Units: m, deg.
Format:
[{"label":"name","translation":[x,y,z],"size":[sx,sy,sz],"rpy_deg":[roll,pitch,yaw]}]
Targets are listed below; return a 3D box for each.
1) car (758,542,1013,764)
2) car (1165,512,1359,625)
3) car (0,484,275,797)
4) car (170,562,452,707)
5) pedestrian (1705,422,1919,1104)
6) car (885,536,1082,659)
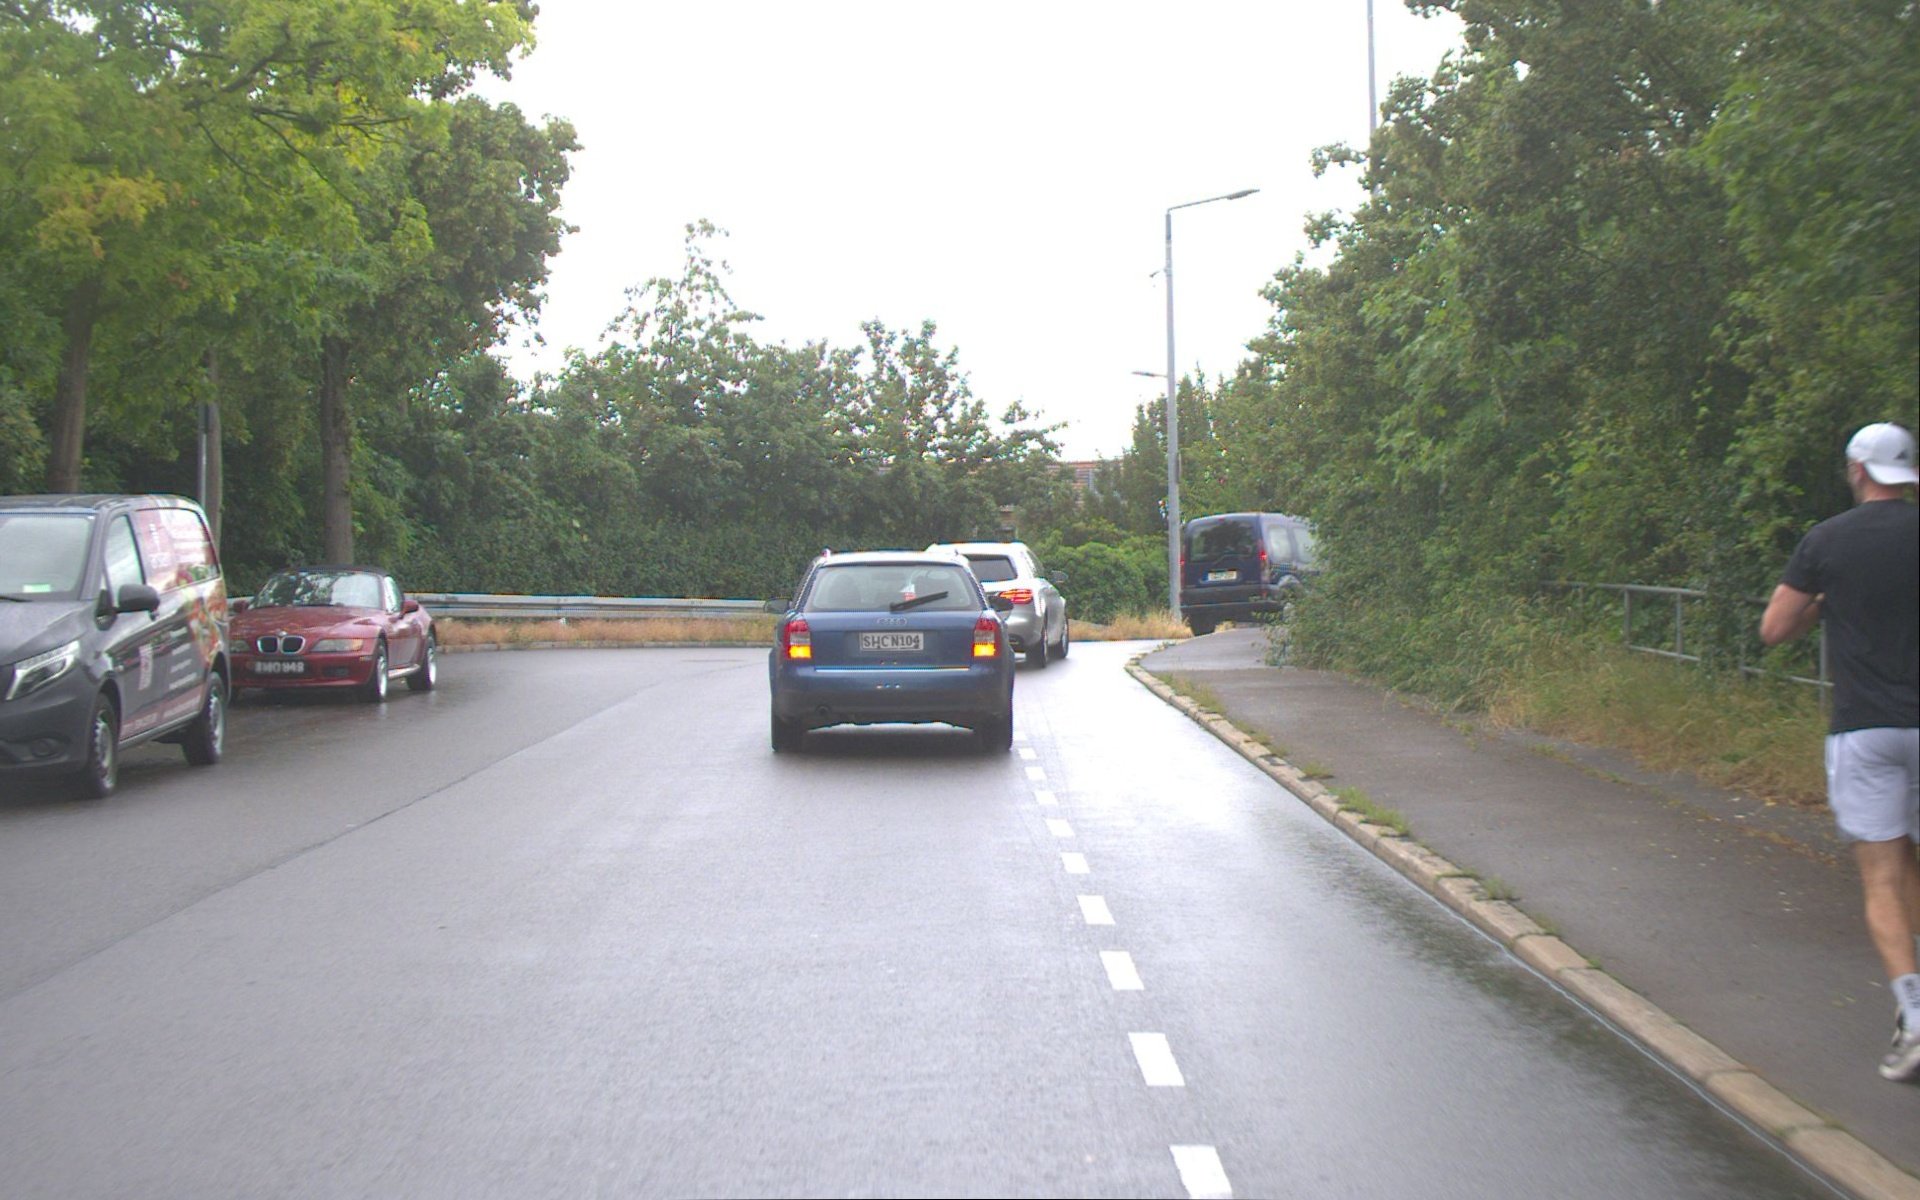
[{"label":"car","translation":[-0.529,0.331,25.563],"size":[1.747,1.402,4.001],"rpy_deg":[0,3,0]},{"label":"car","translation":[4.620,-0.496,52.218],"size":[1.824,1.611,3.781],"rpy_deg":[-1,1,23]},{"label":"car","translation":[-6.148,0.222,22.760],"size":[2.083,1.813,5.381],"rpy_deg":[-1,1,0]},{"label":"car","translation":[-6.296,0.294,33.801],"size":[1.789,1.292,4.325],"rpy_deg":[-1,1,2]},{"label":"pedestrian","translation":[2.615,0.424,9.787],"size":[0.717,1.828,1.021],"rpy_deg":[-2,1,2]},{"label":"car","translation":[0.337,-0.046,41.302],"size":[1.891,1.384,3.999],"rpy_deg":[-1,0,7]}]
